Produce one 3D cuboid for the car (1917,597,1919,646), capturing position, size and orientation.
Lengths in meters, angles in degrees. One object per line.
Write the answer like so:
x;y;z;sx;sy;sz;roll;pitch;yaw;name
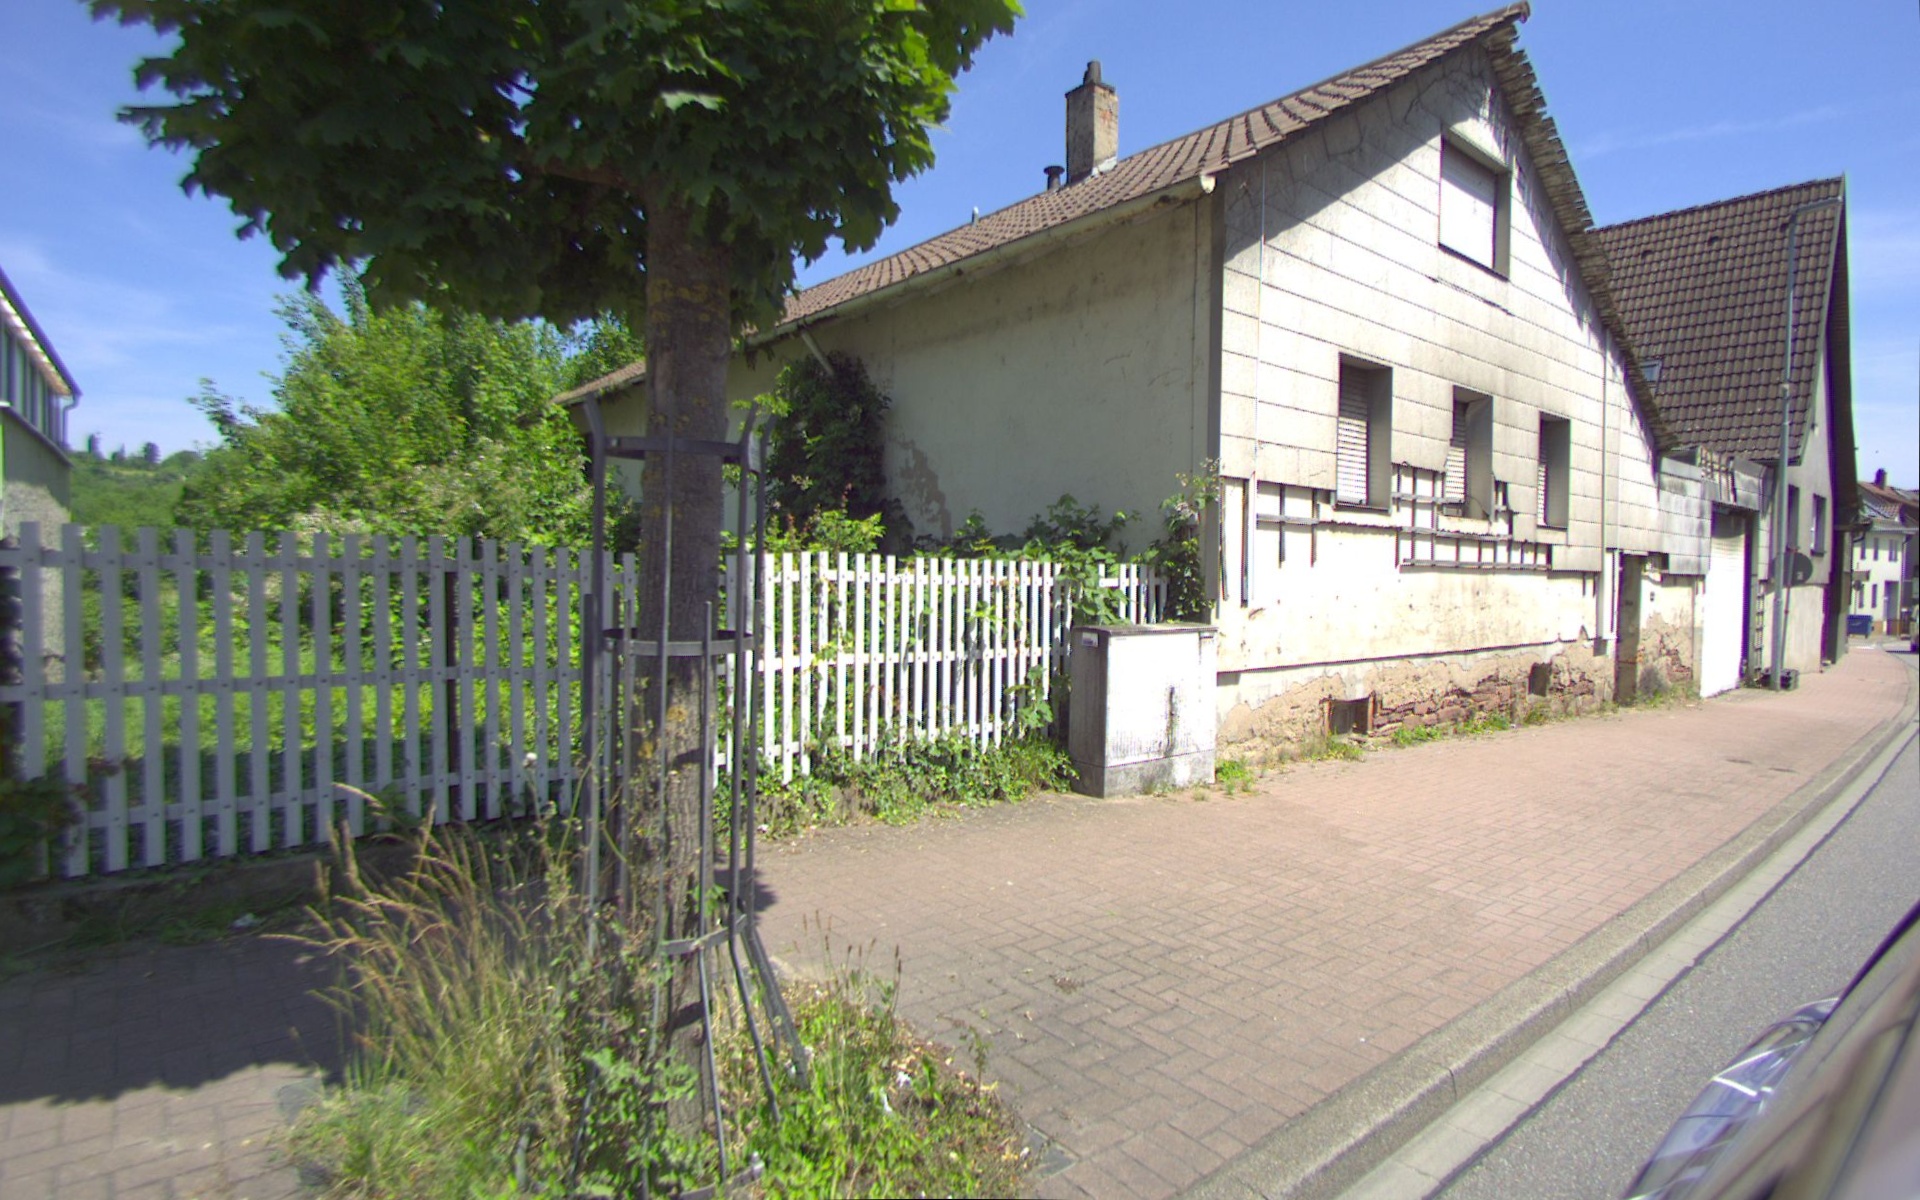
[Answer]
39.122;0.907;39.653;2.071;1.985;5.438;1;1;41;car
